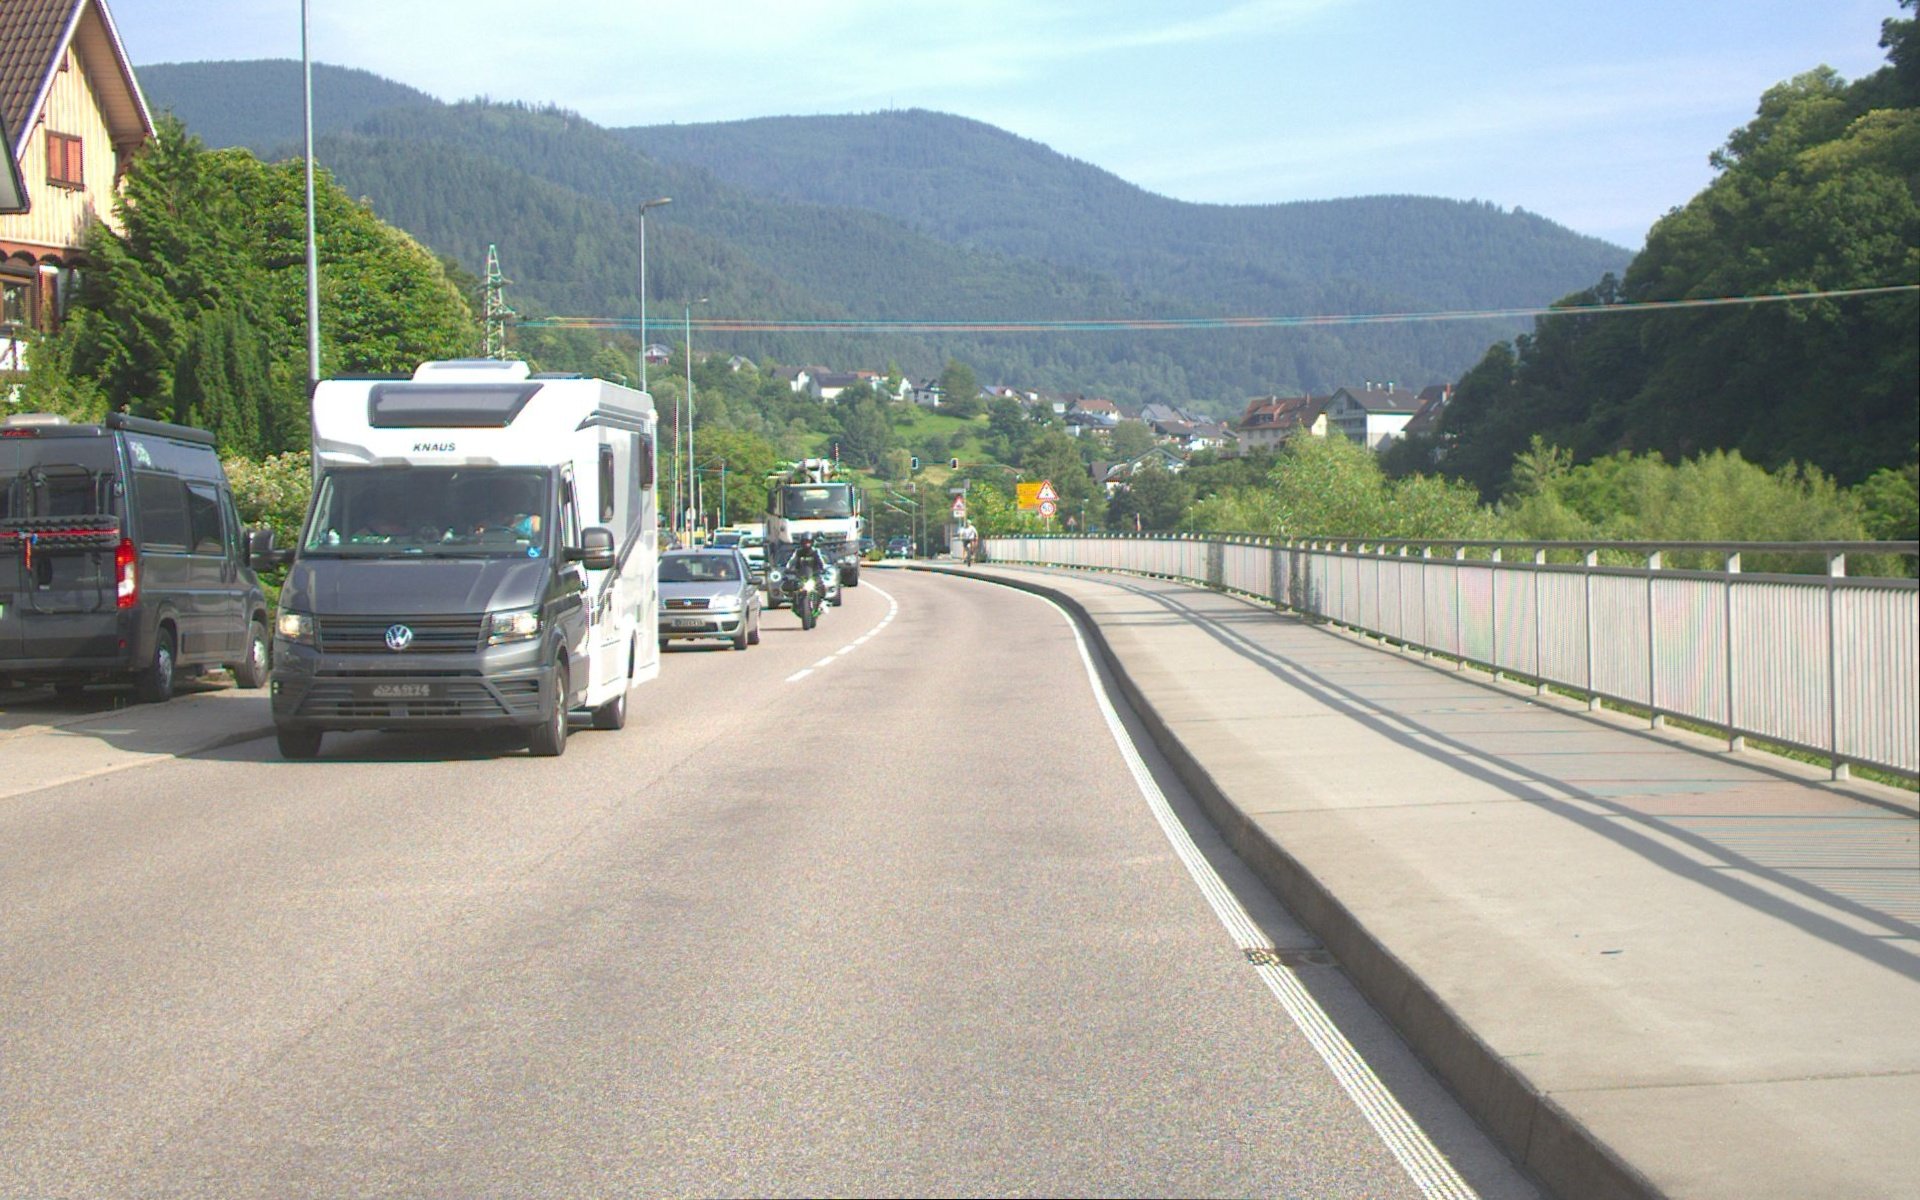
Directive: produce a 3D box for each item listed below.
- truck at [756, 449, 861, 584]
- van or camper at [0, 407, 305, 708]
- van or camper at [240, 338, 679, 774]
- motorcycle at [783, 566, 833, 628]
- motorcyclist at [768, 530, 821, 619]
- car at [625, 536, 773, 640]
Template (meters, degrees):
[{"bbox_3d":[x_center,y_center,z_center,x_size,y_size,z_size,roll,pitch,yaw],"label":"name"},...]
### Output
[{"bbox_3d":[-4.799,-2.565,107.241,2.577,3.918,11.308,-2,1,-6],"label":"truck"},{"bbox_3d":[-7.874,-0.405,32.170,2.148,2.546,5.901,-1,1,2],"label":"van or camper"},{"bbox_3d":[-3.660,-0.375,26.690,2.195,2.928,7.127,0,1,1],"label":"van or camper"},{"bbox_3d":[-2.690,-0.058,61.114,0.654,1.064,2.182,-1,1,3],"label":"motorcycle"},{"bbox_3d":[-2.922,-0.448,60.802,0.826,1.553,0.628,-1,0,4],"label":"motorcyclist"},{"bbox_3d":[-3.799,-0.201,50.636,1.630,1.480,4.000,0,1,4],"label":"car"}]
